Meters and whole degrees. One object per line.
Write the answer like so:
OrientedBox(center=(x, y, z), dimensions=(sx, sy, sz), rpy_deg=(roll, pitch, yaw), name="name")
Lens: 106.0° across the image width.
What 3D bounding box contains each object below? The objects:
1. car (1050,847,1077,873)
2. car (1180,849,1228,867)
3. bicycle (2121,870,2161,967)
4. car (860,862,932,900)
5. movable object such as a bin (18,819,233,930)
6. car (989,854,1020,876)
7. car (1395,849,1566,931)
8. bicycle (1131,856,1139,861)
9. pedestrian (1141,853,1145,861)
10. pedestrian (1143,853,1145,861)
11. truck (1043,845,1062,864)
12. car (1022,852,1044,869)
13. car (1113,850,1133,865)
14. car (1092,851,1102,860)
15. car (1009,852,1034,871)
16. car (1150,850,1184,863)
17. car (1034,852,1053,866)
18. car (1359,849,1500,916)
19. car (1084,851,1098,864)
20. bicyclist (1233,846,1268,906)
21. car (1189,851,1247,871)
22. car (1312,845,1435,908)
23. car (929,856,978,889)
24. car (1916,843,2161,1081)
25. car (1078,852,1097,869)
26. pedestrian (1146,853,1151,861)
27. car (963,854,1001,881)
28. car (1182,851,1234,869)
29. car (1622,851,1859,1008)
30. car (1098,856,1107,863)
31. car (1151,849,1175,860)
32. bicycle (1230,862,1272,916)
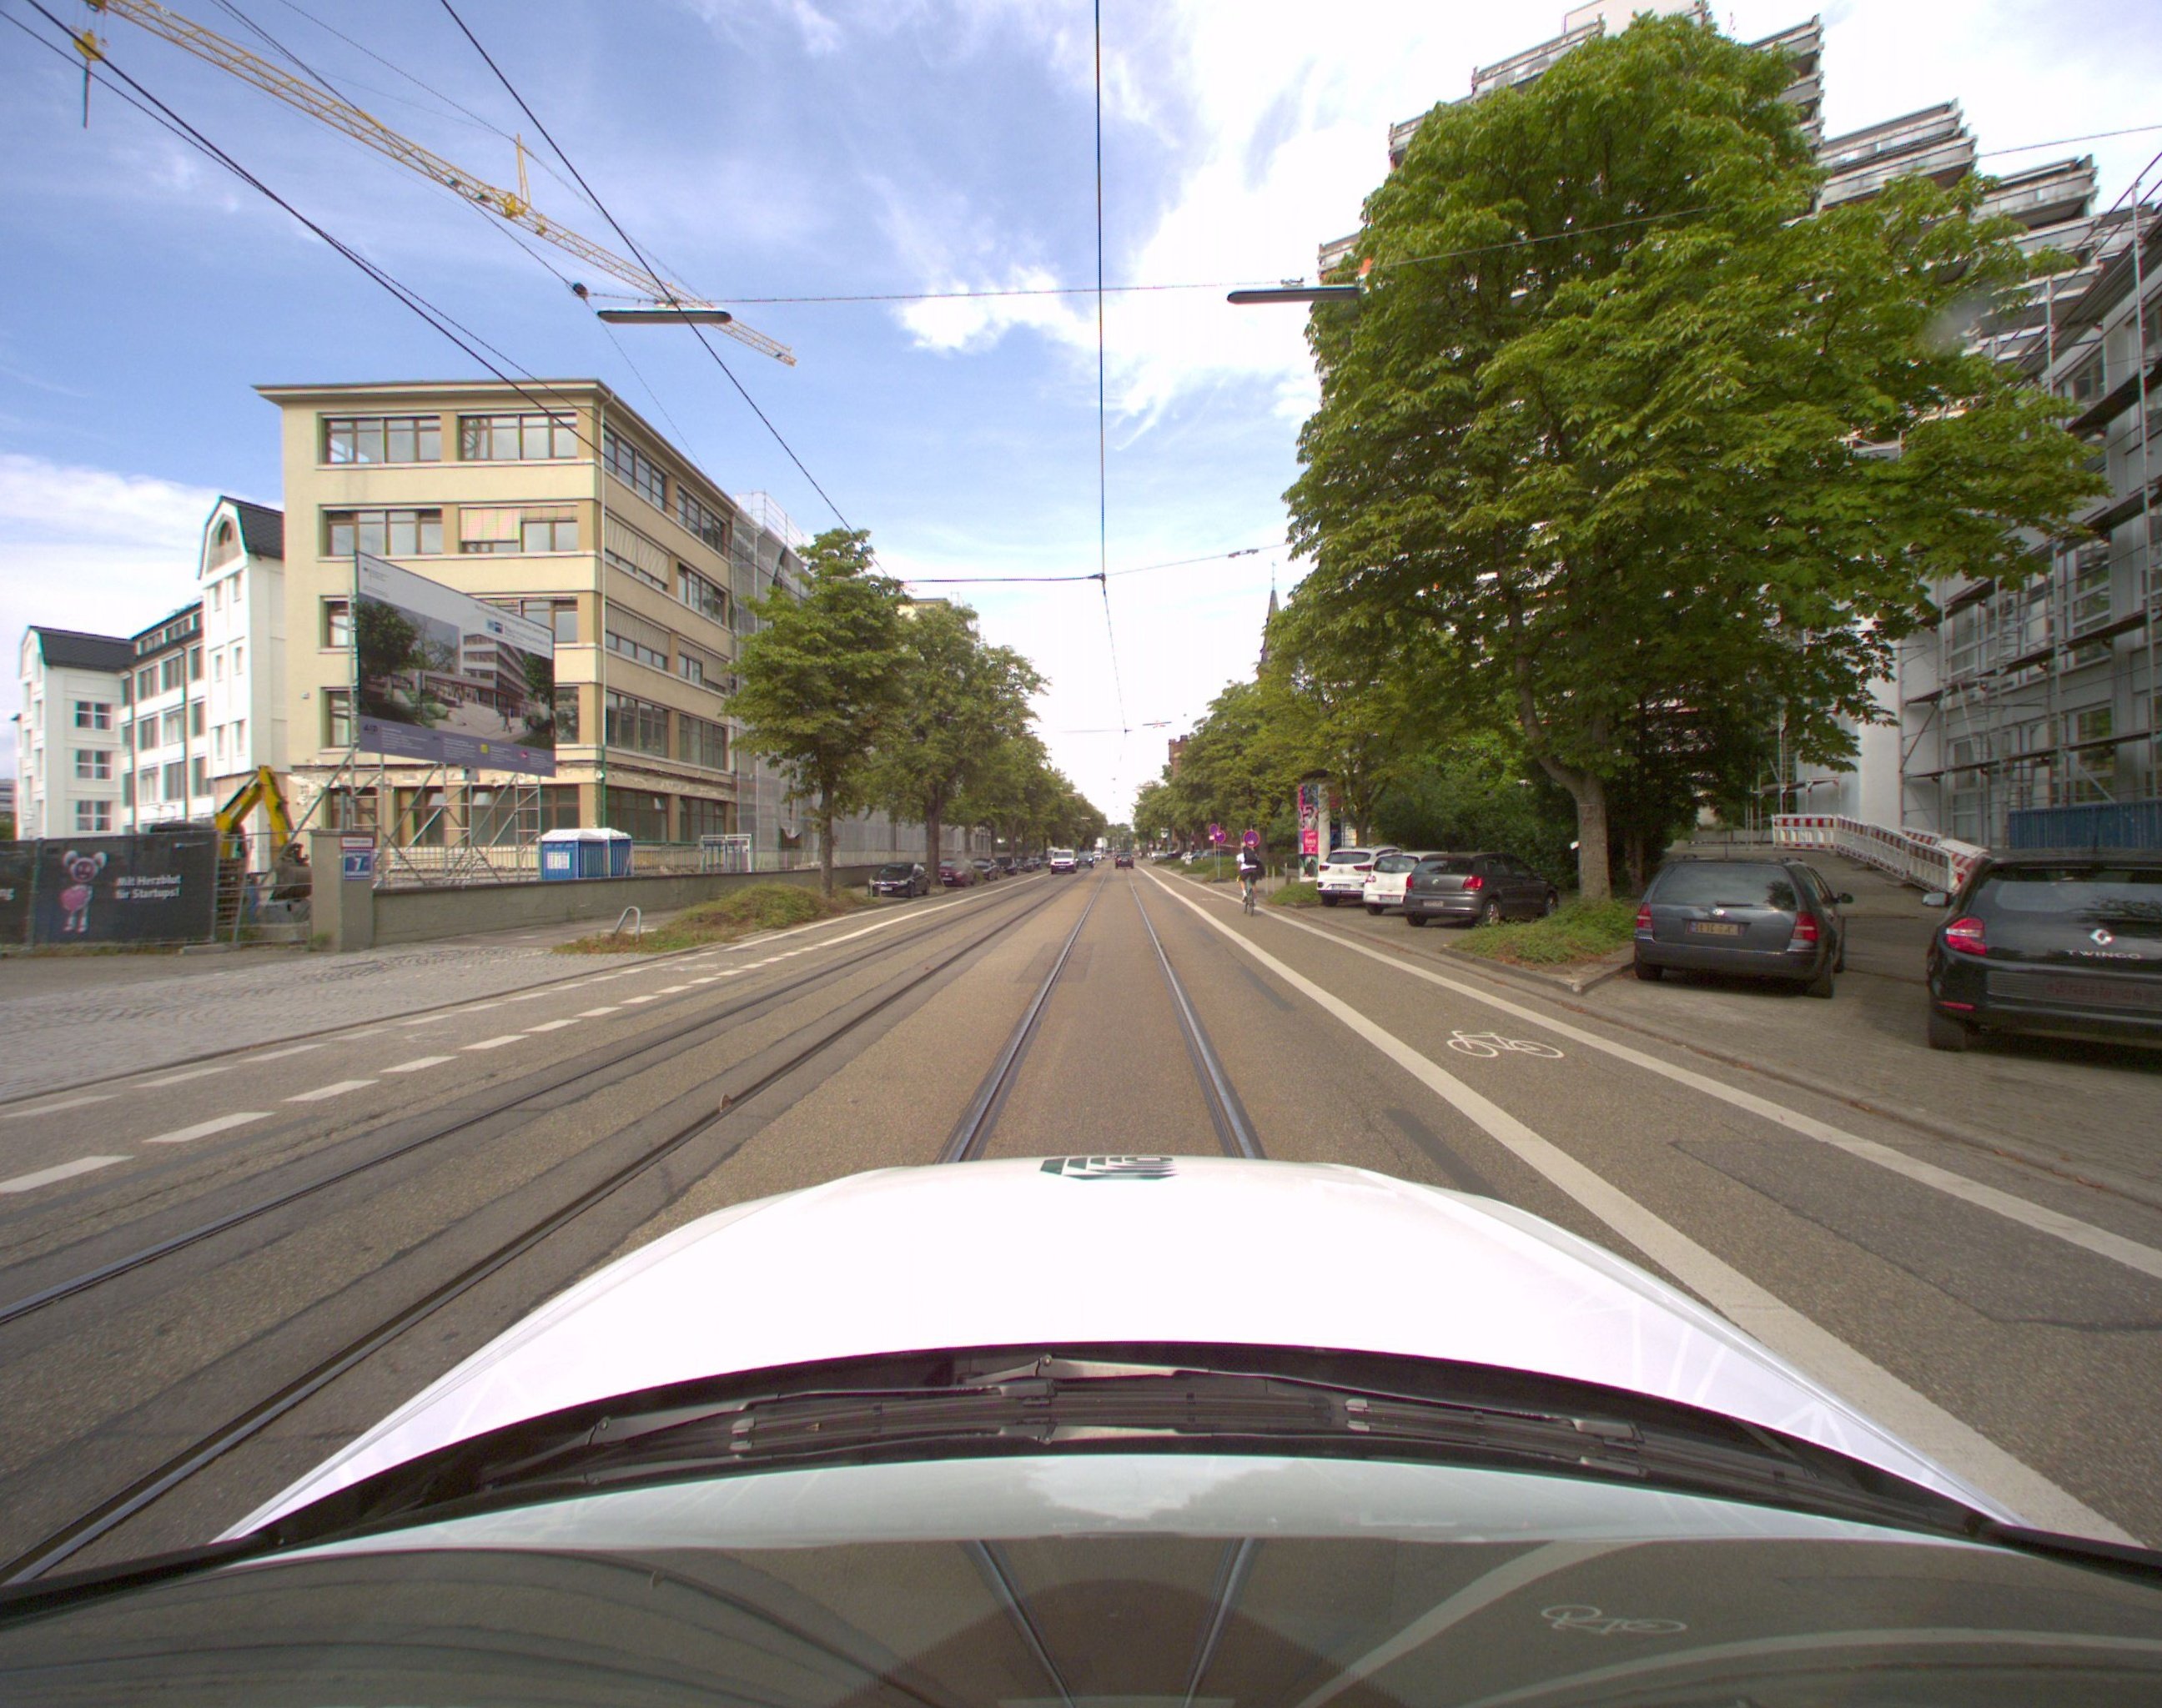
OrientedBox(center=(-1.291, 0.455, 62.135), dimensions=(1.795, 1.823, 4.486), rpy_deg=(-2, 0, 2), name="car")
OrientedBox(center=(11.022, 0.356, 73.249), dimensions=(3.975, 1.627, 1.884), rpy_deg=(-1, 0, -1), name="car")
OrientedBox(center=(13.612, 0.739, 9.356), dimensions=(1.947, 1.128, 0.542), rpy_deg=(-2, -1, 32), name="bicycle")
OrientedBox(center=(-7.368, 1.036, 32.808), dimensions=(1.795, 1.374, 4.033), rpy_deg=(-2, 0, 2), name="car")
OrientedBox(center=(-18.975, 0.393, 16.271), dimensions=(1.977, 2.067, 1.963), rpy_deg=(-1, 0, 4), name="movable object such as a bin")
OrientedBox(center=(-5.865, 0.857, 62.791), dimensions=(1.795, 1.583, 4.033), rpy_deg=(-2, 0, 2), name="car")
OrientedBox(center=(7.992, 0.633, 16.214), dimensions=(3.551, 1.442, 1.606), rpy_deg=(-1, 0, -37), name="car")
OrientedBox(center=(11.067, 0.924, 167.160), dimensions=(1.709, 0.991, 0.660), rpy_deg=(0, 0, 11), name="bicycle")
OrientedBox(center=(12.659, 0.607, 167.031), dimensions=(0.721, 1.646, 0.769), rpy_deg=(0, 0, 12), name="pedestrian")
OrientedBox(center=(15.611, 0.829, 201.928), dimensions=(0.515, 2.013, 0.480), rpy_deg=(0, 0, 6), name="pedestrian")
OrientedBox(center=(-3.668, 0.069, 106.436), dimensions=(2.063, 2.470, 4.901), rpy_deg=(-2, 0, 2), name="truck")
OrientedBox(center=(-4.873, 0.631, 82.766), dimensions=(1.795, 1.583, 4.033), rpy_deg=(-2, 0, 2), name="car")
OrientedBox(center=(3.956, 0.314, 76.917), dimensions=(1.786, 1.423, 4.002), rpy_deg=(0, 0, 2), name="car")
OrientedBox(center=(2.939, 0.266, 148.170), dimensions=(1.795, 1.622, 4.486), rpy_deg=(-2, 0, 2), name="car")
OrientedBox(center=(-5.276, 0.678, 73.020), dimensions=(1.795, 1.583, 4.033), rpy_deg=(-2, 0, 2), name="car")
OrientedBox(center=(10.421, 0.254, 98.930), dimensions=(3.975, 1.508, 1.884), rpy_deg=(-1, 0, -1), name="car")
OrientedBox(center=(-4.275, 0.566, 93.376), dimensions=(1.795, 1.583, 4.033), rpy_deg=(-2, 0, 2), name="car")
OrientedBox(center=(8.275, 0.613, 19.259), dimensions=(3.463, 1.442, 1.543), rpy_deg=(-1, 0, -37), name="car")
OrientedBox(center=(1.431, 0.477, 111.346), dimensions=(1.795, 1.622, 4.486), rpy_deg=(-2, 0, 2), name="car")
OrientedBox(center=(4.211, 0.523, 20.321), dimensions=(0.655, 1.463, 1.179), rpy_deg=(0, 0, 1), name="bicyclist")
OrientedBox(center=(10.224, 0.532, 60.955), dimensions=(3.975, 1.425, 1.884), rpy_deg=(-1, 0, -1), name="car")
OrientedBox(center=(8.064, 0.562, 22.369), dimensions=(3.463, 1.573, 1.543), rpy_deg=(-1, 0, -37), name="car")
OrientedBox(center=(-6.723, 0.945, 43.192), dimensions=(1.795, 1.583, 4.033), rpy_deg=(-2, 0, 2), name="car")
OrientedBox(center=(8.086, 0.687, 6.685), dimensions=(3.760, 1.522, 1.620), rpy_deg=(0, 0, -43), name="car")
OrientedBox(center=(0.676, 0.636, 83.950), dimensions=(1.795, 1.622, 4.486), rpy_deg=(-2, 0, 2), name="car")
OrientedBox(center=(13.772, 0.615, 166.123), dimensions=(0.721, 1.646, 0.769), rpy_deg=(0, 0, 12), name="pedestrian")
OrientedBox(center=(-6.270, 0.817, 52.058), dimensions=(1.795, 1.583, 4.033), rpy_deg=(-2, 0, 2), name="car")
OrientedBox(center=(10.545, 0.490, 67.854), dimensions=(3.975, 1.425, 1.884), rpy_deg=(-1, 0, -1), name="car")
OrientedBox(center=(7.762, 0.700, 9.458), dimensions=(3.760, 1.458, 1.620), rpy_deg=(0, 0, -43), name="car")
OrientedBox(center=(4.961, 1.283, 187.494), dimensions=(1.795, 1.622, 4.486), rpy_deg=(-2, 0, 2), name="car")
OrientedBox(center=(14.557, 0.145, 145.031), dimensions=(3.975, 1.910, 1.999), rpy_deg=(0, 0, -1), name="car")
OrientedBox(center=(4.201, 0.842, 20.288), dimensions=(0.655, 1.249, 2.125), rpy_deg=(0, 0, 1), name="bicycle")
